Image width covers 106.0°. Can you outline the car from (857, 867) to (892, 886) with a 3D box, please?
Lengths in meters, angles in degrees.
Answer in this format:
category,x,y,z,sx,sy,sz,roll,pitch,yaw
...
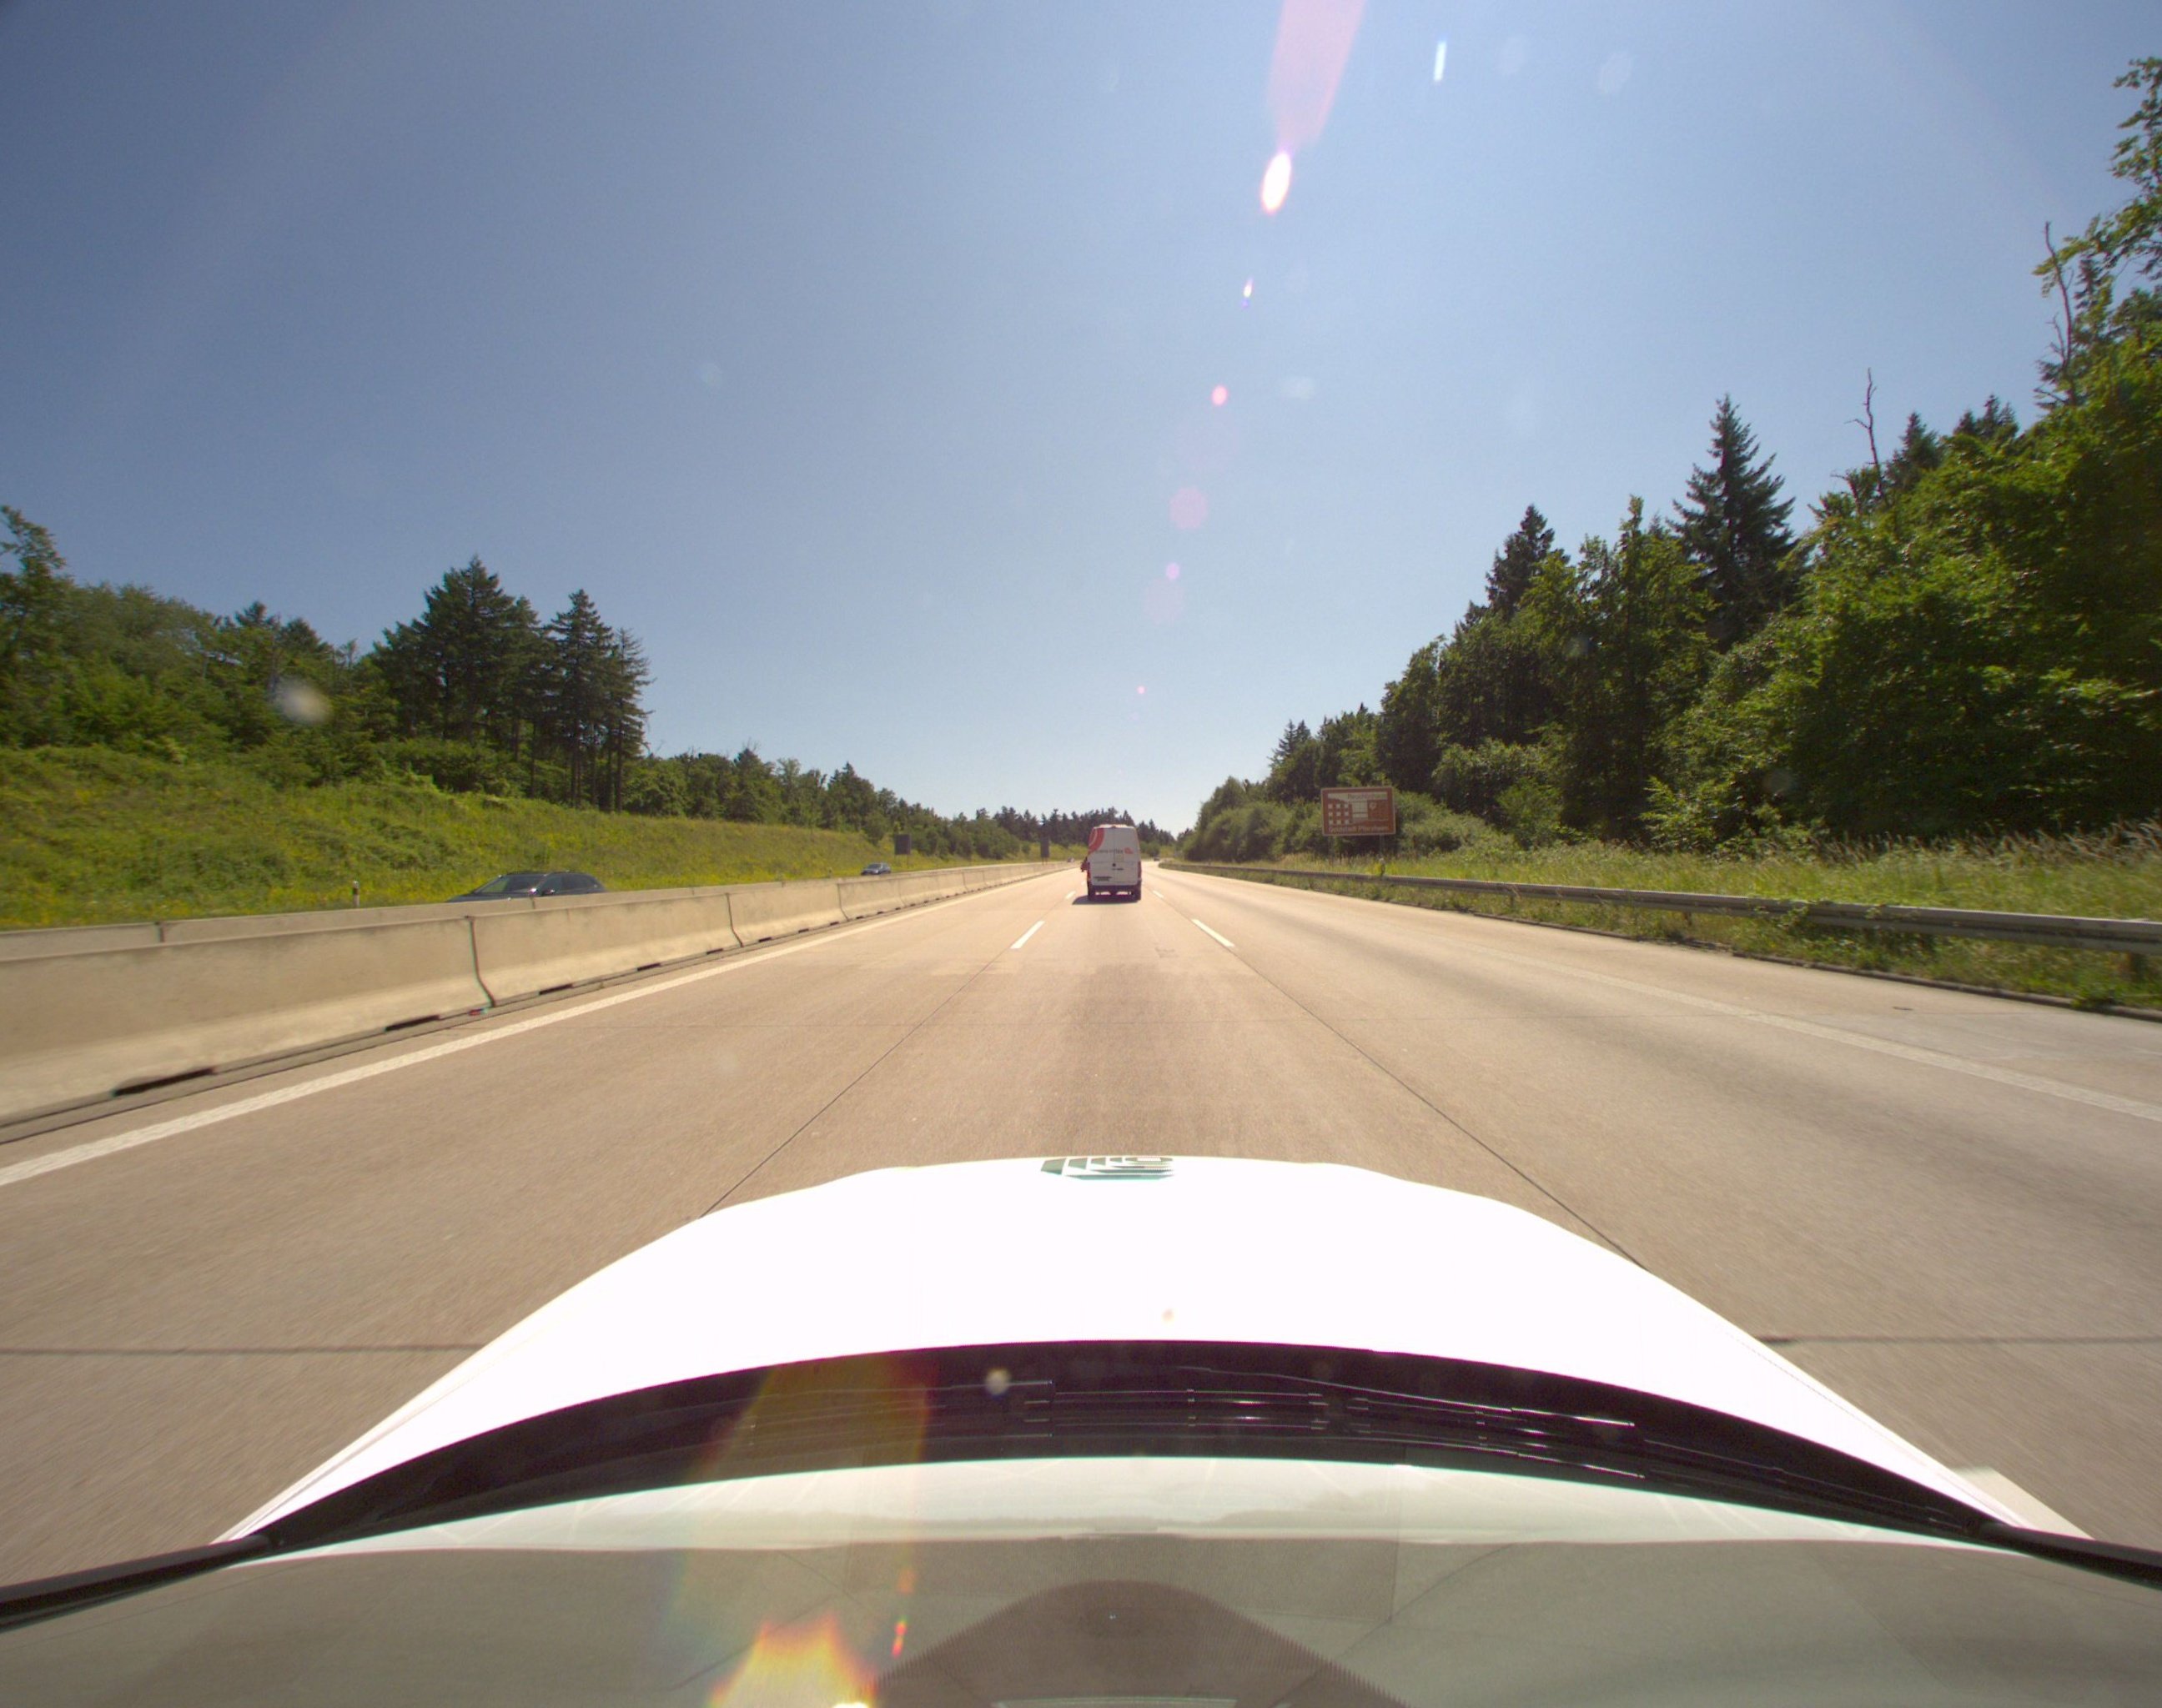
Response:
category,x,y,z,sx,sy,sz,roll,pitch,yaw
car,-18.805,2.016,74.249,1.986,1.583,4.044,-1,-1,2

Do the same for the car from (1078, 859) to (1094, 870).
category,x,y,z,sx,sy,sz,roll,pitch,yaw
car,0.781,1.684,126.318,1.983,1.684,4.006,-1,-1,6

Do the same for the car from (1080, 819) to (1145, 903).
category,x,y,z,sx,sy,sz,roll,pitch,yaw
car,1.169,0.258,30.839,2.218,2.844,5.455,-1,0,1

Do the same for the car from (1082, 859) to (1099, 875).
category,x,y,z,sx,sy,sz,roll,pitch,yaw
car,1.215,1.601,98.825,1.986,1.794,4.001,-1,-1,1

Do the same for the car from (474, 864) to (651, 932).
category,x,y,z,sx,sy,sz,roll,pitch,yaw
car,-13.570,1.085,21.665,1.986,1.583,4.044,-1,-1,2
